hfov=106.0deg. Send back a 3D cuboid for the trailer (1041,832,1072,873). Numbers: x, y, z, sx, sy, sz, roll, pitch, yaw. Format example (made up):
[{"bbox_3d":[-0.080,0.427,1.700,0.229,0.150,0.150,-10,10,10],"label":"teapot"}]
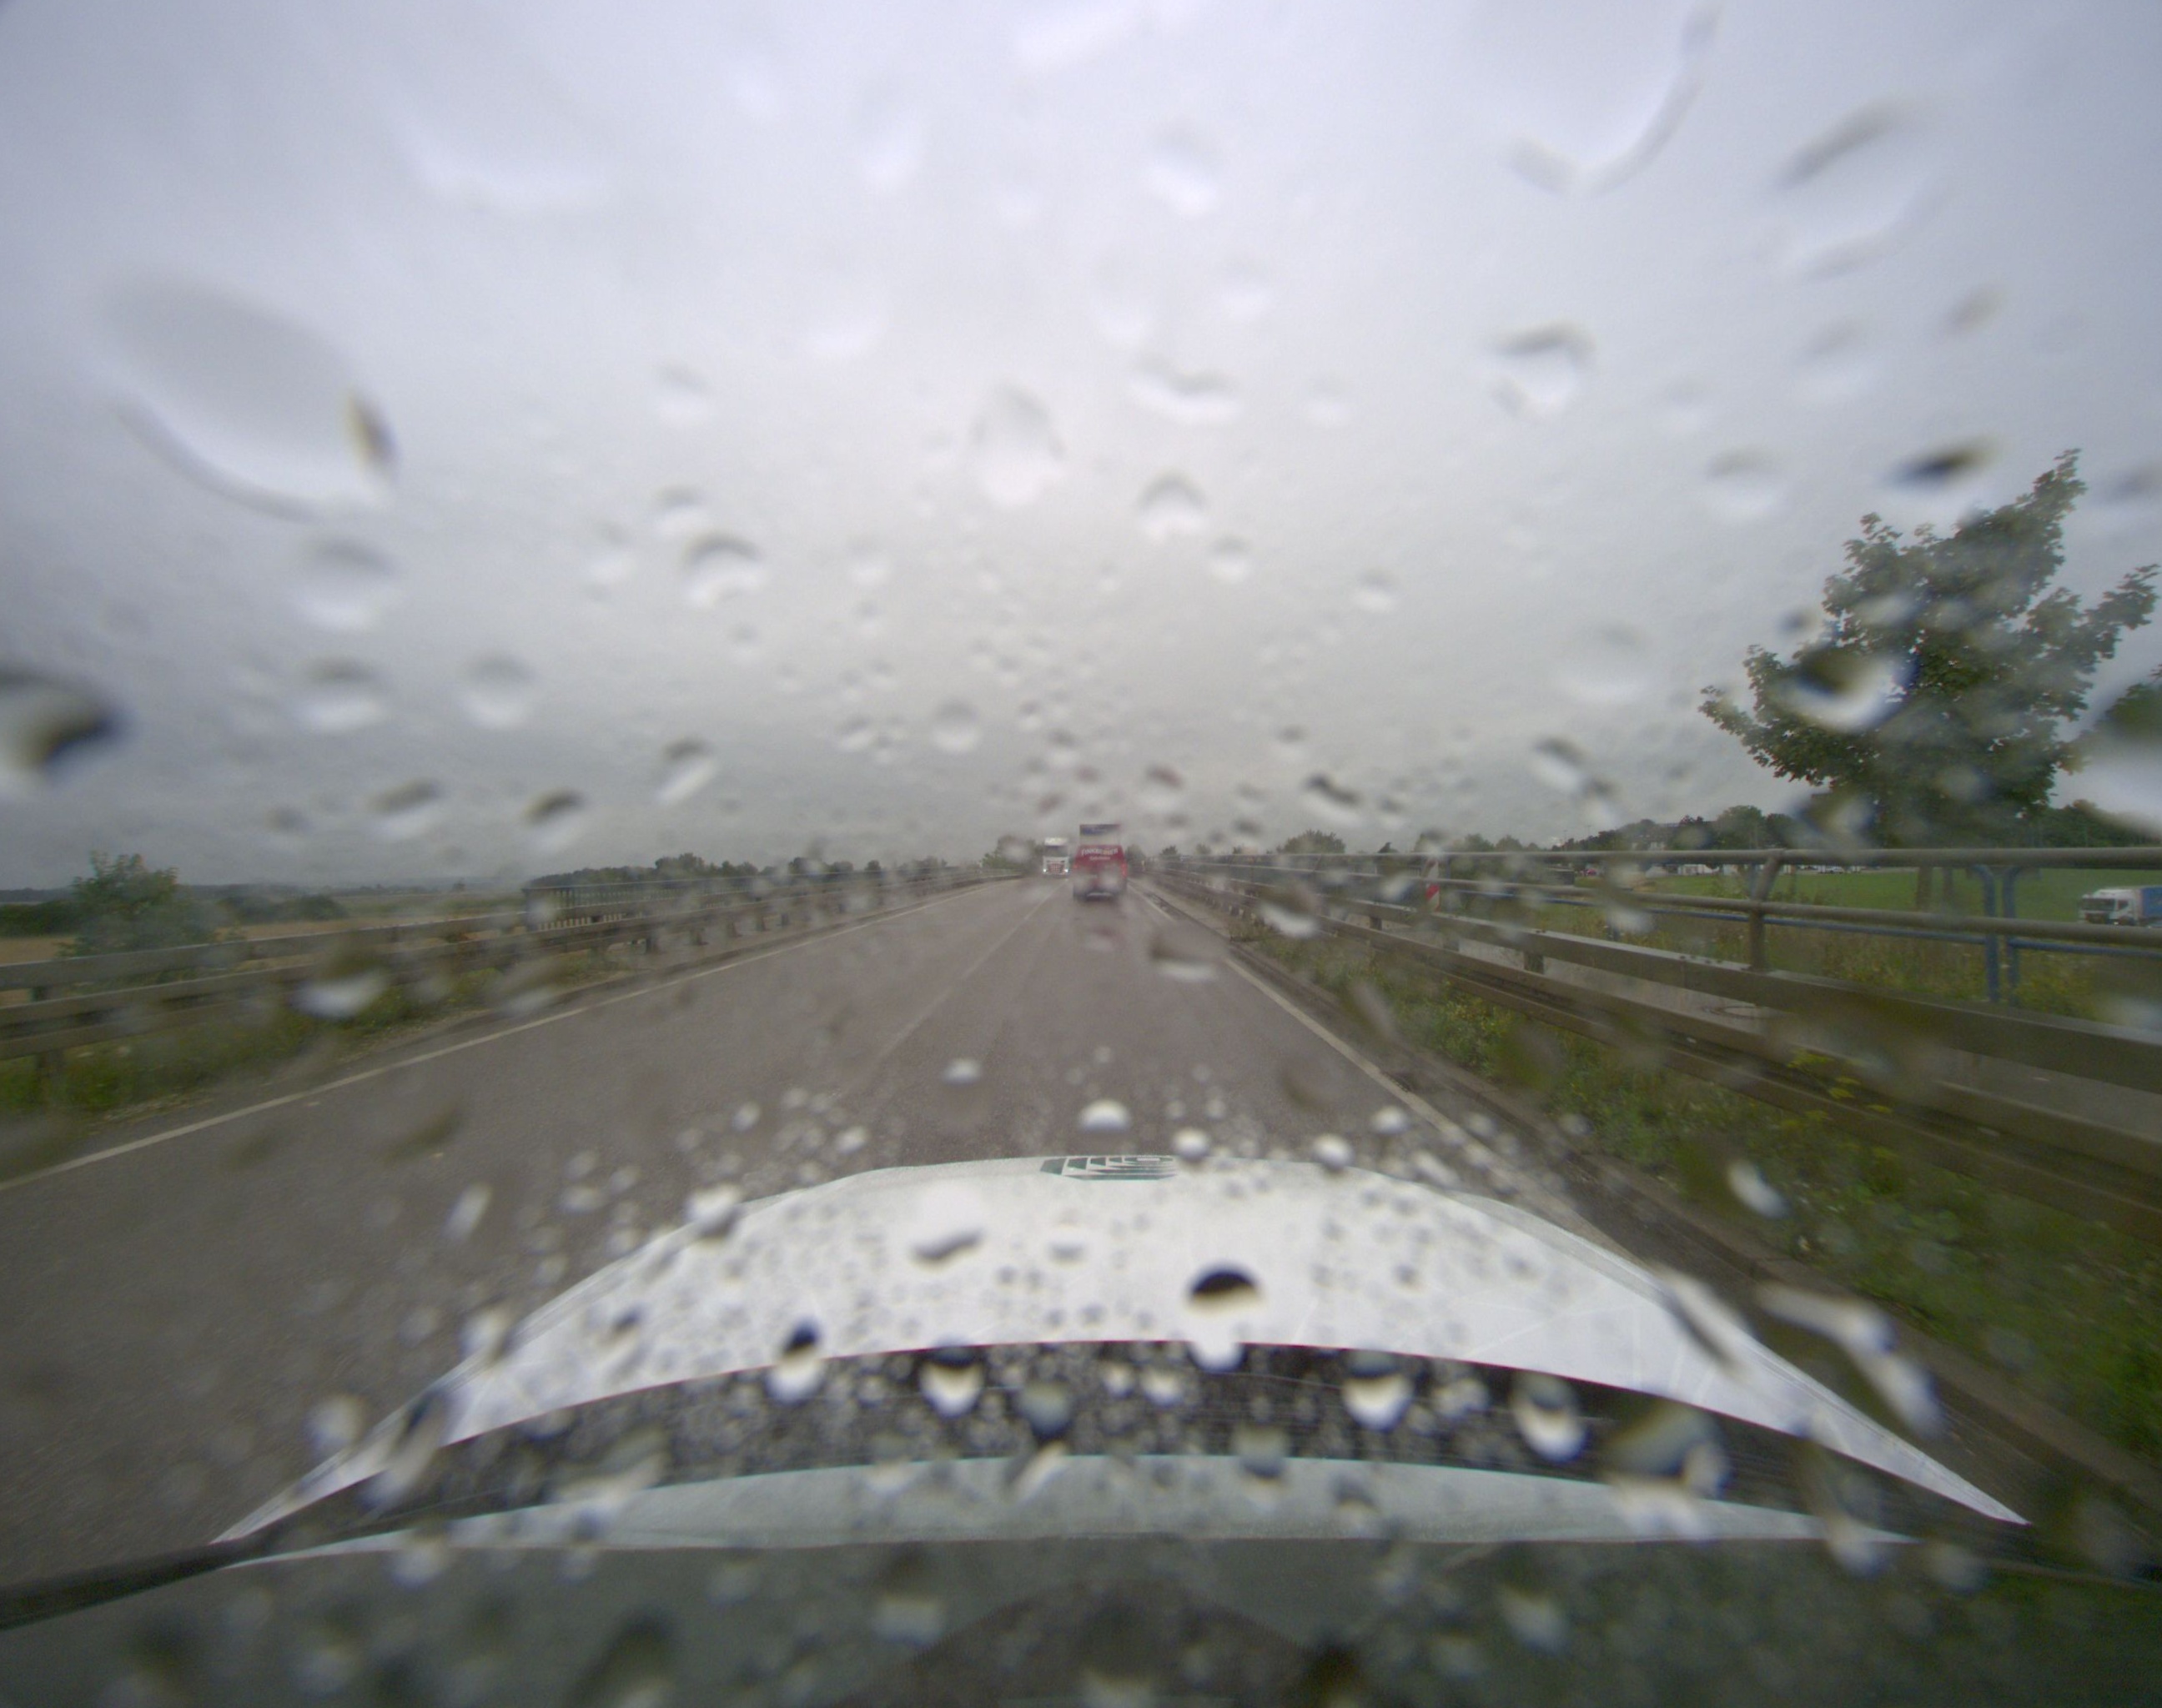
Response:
[{"bbox_3d":[-2.477,-0.089,87.169,2.808,3.970,13.734,-1,0,0],"label":"trailer"}]

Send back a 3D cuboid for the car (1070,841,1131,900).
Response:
[{"bbox_3d":[0.657,0.522,28.864,1.987,1.925,4.143,0,0,0],"label":"car"}]

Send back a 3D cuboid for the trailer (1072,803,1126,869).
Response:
[{"bbox_3d":[1.312,-1.041,54.270,3.189,3.922,8.744,2,-1,2],"label":"trailer"}]

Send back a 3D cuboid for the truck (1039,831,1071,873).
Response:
[{"bbox_3d":[-2.497,-0.147,81.326,2.809,3.970,8.762,-1,0,0],"label":"truck"}]
